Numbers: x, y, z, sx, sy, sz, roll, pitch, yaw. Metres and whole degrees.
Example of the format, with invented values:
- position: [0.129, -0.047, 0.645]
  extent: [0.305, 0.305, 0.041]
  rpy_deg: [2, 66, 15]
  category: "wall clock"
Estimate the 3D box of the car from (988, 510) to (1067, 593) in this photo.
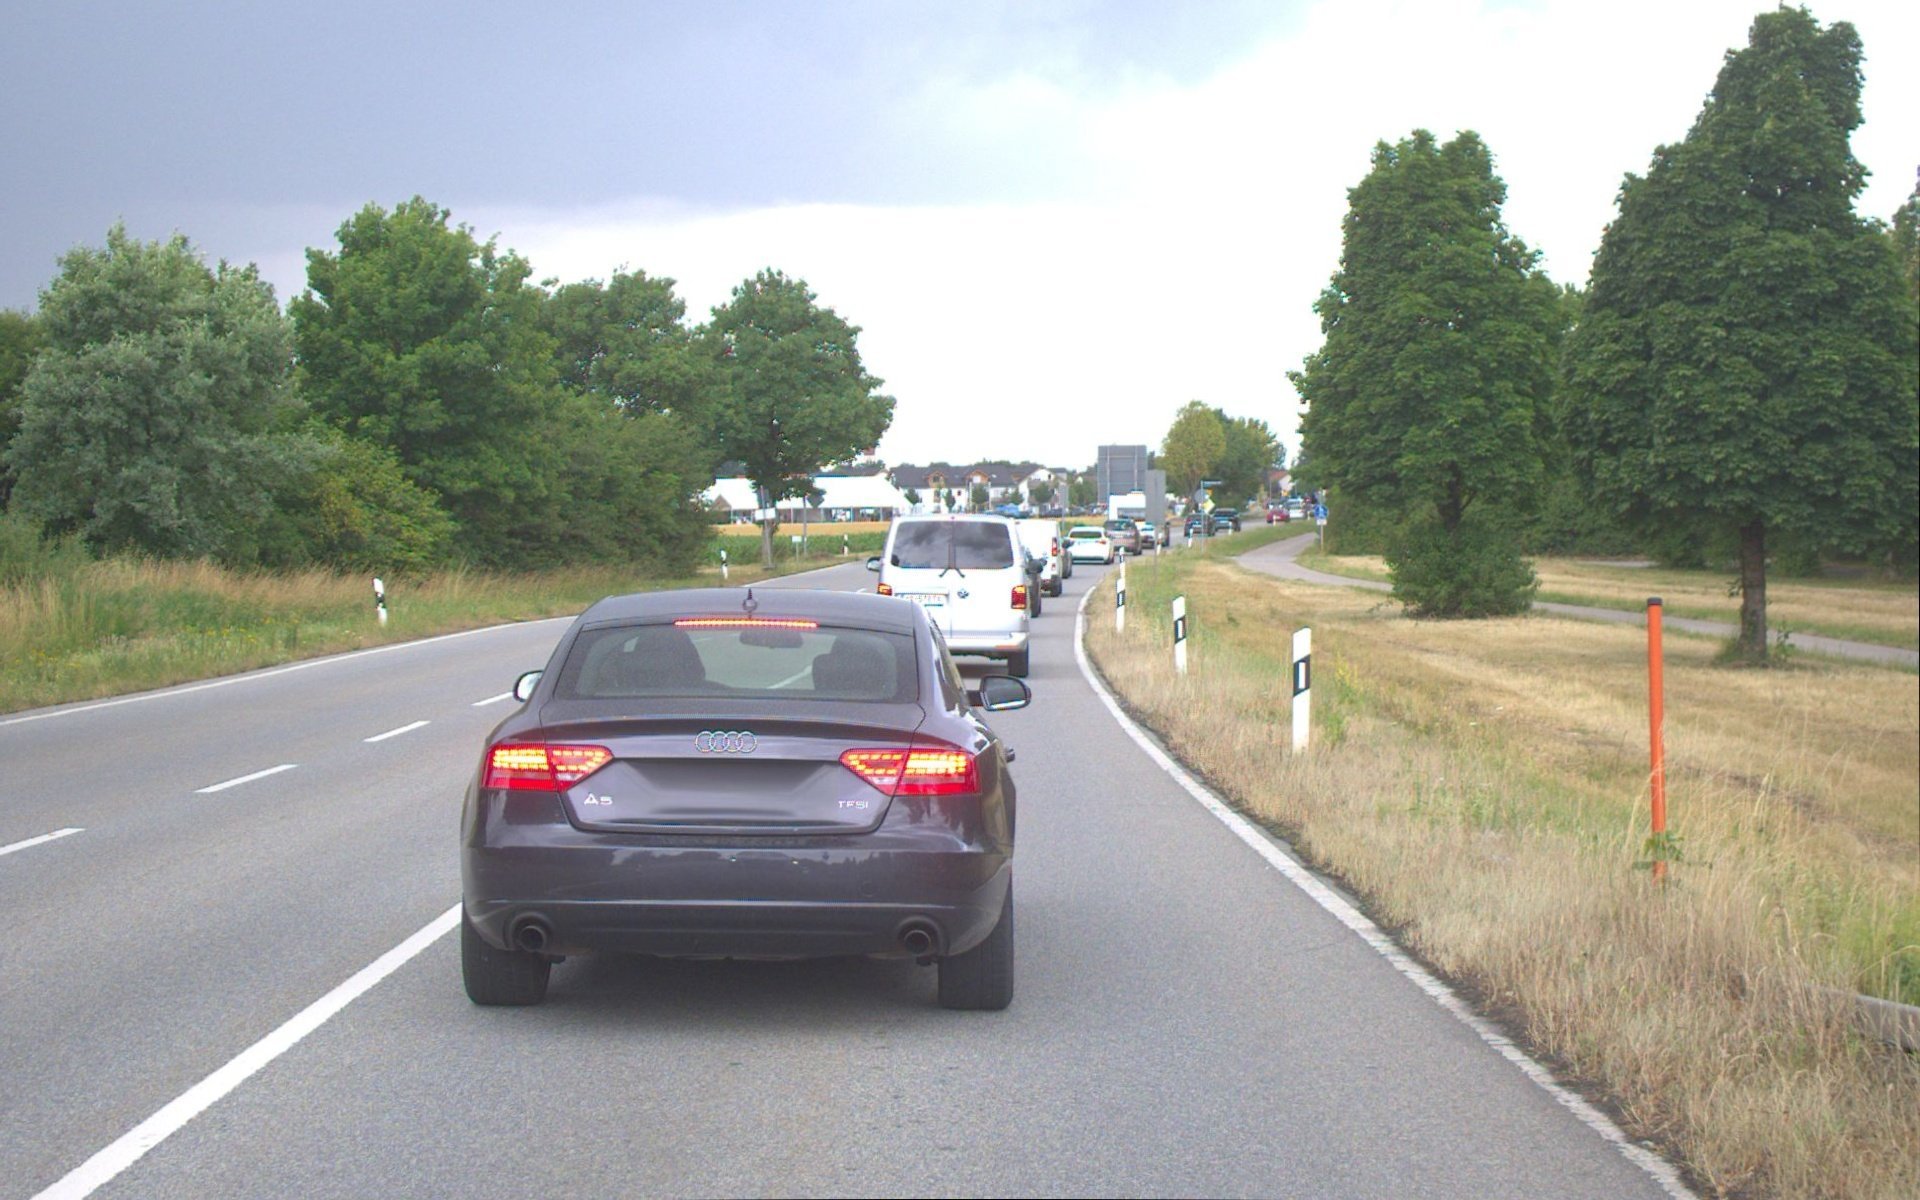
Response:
- position: [1.763, -1.257, 88.373]
  extent: [1.993, 2.081, 4.000]
  rpy_deg: [0, 1, 2]
  category: "car"

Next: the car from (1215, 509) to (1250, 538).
- position: [18.594, -5.219, 234.610]
  extent: [1.993, 2.007, 4.000]
  rpy_deg: [0, 1, -1]
  category: "car"

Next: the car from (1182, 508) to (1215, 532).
- position: [14.697, -4.960, 212.163]
  extent: [1.719, 1.446, 4.000]
  rpy_deg: [1, 1, 0]
  category: "car"

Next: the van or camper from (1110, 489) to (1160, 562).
- position: [8.480, -3.604, 166.800]
  extent: [2.340, 3.469, 5.718]
  rpy_deg: [0, 1, 2]
  category: "van or camper"

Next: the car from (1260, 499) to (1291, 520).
- position: [22.795, -6.511, 248.488]
  extent: [1.821, 1.487, 4.000]
  rpy_deg: [1, 1, 0]
  category: "car"

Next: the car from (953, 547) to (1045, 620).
- position: [0.832, -0.363, 71.194]
  extent: [1.795, 1.459, 3.248]
  rpy_deg: [0, 1, 3]
  category: "car"

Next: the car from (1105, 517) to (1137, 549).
- position: [6.940, -2.876, 147.837]
  extent: [1.258, 1.349, 3.465]
  rpy_deg: [0, 1, 5]
  category: "car"

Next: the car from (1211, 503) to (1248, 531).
- position: [15.706, -4.821, 200.533]
  extent: [1.821, 1.591, 4.000]
  rpy_deg: [1, 1, 0]
  category: "car"

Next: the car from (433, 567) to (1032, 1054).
- position: [-0.723, 0.617, 12.351]
  extent: [1.782, 1.372, 4.001]
  rpy_deg: [1, 2, -1]
  category: "car"

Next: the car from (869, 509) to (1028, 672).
- position: [-0.173, -0.165, 42.222]
  extent: [1.838, 1.876, 4.001]
  rpy_deg: [1, 1, -1]
  category: "car"

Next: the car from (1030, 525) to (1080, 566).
- position: [2.951, -1.693, 106.622]
  extent: [1.535, 1.273, 3.746]
  rpy_deg: [0, 1, 2]
  category: "car"

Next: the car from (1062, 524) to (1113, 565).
- position: [4.834, -2.100, 129.589]
  extent: [1.736, 1.509, 3.746]
  rpy_deg: [0, 1, 5]
  category: "car"
